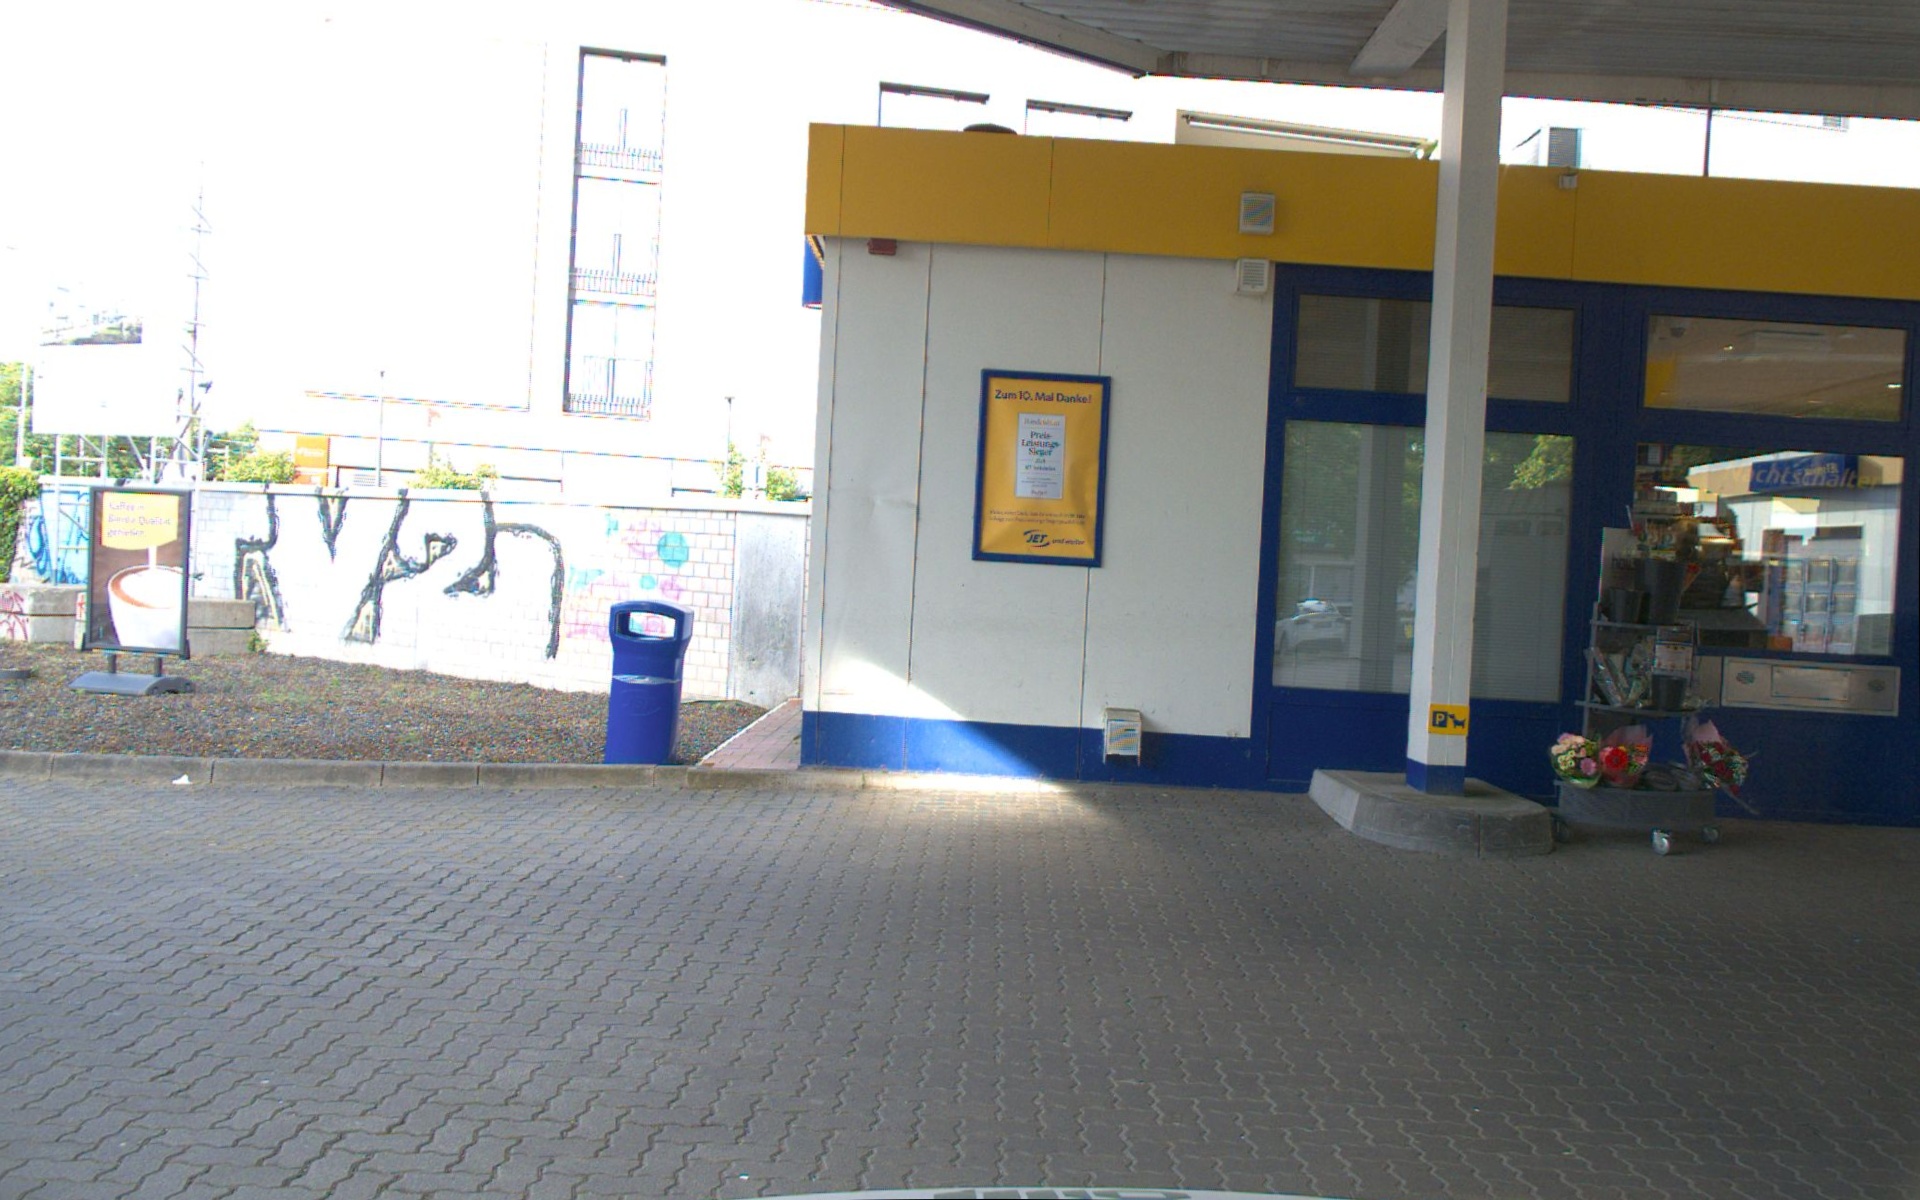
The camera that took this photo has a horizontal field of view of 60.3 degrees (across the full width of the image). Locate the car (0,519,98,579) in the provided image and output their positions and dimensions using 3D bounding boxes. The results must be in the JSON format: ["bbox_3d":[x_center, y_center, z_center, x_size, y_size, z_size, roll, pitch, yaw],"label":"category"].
[{"bbox_3d":[-26.056,-1.478,47.214,1.726,1.502,3.983,4,1,-17],"label":"car"}]
